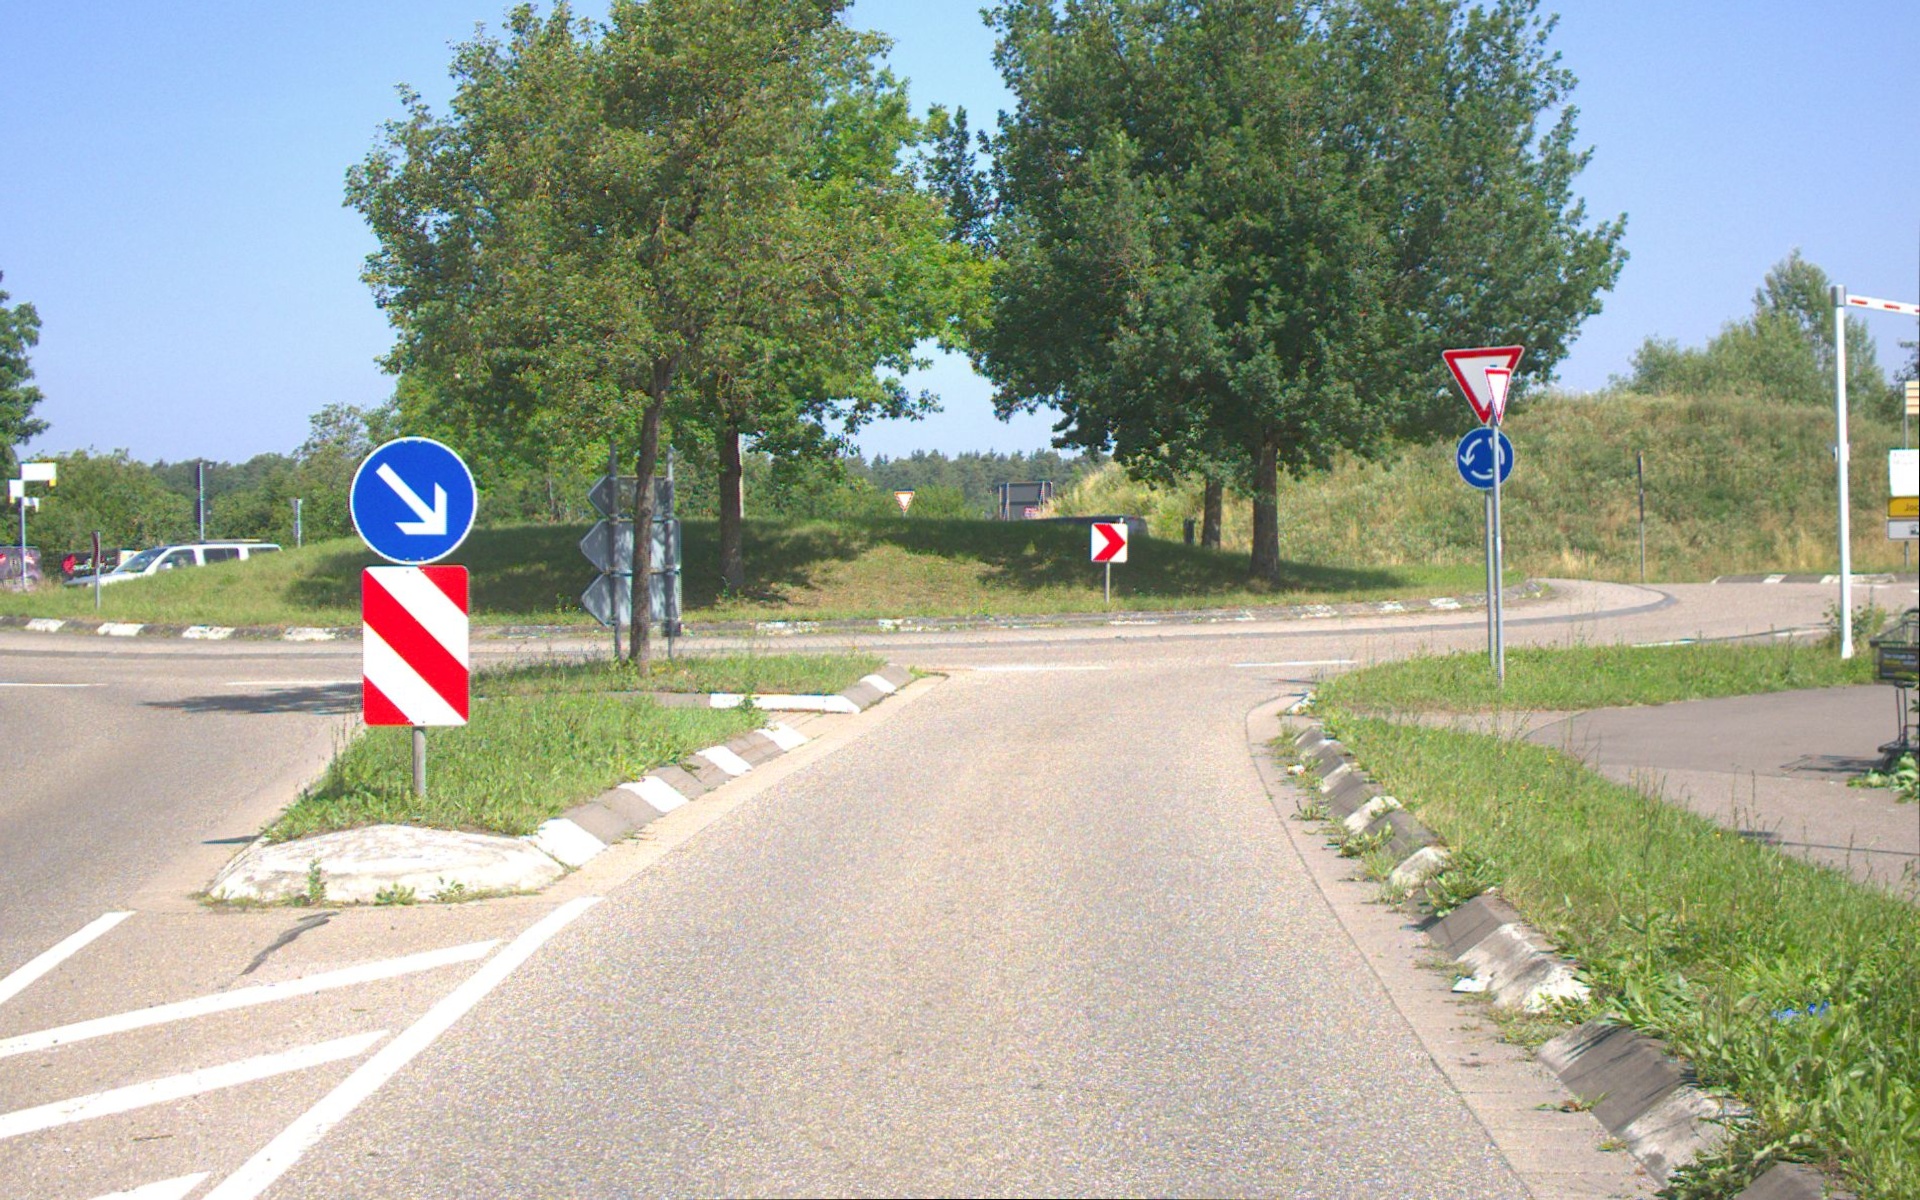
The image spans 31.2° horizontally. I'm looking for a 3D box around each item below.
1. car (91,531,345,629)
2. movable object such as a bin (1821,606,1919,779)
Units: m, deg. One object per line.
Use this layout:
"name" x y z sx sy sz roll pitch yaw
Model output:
"car" -14.734 -0.421 68.429 4.584 1.809 1.898 -2 2 -44
"movable object such as a bin" 6.551 0.621 23.729 0.869 1.116 1.453 0 1 27
